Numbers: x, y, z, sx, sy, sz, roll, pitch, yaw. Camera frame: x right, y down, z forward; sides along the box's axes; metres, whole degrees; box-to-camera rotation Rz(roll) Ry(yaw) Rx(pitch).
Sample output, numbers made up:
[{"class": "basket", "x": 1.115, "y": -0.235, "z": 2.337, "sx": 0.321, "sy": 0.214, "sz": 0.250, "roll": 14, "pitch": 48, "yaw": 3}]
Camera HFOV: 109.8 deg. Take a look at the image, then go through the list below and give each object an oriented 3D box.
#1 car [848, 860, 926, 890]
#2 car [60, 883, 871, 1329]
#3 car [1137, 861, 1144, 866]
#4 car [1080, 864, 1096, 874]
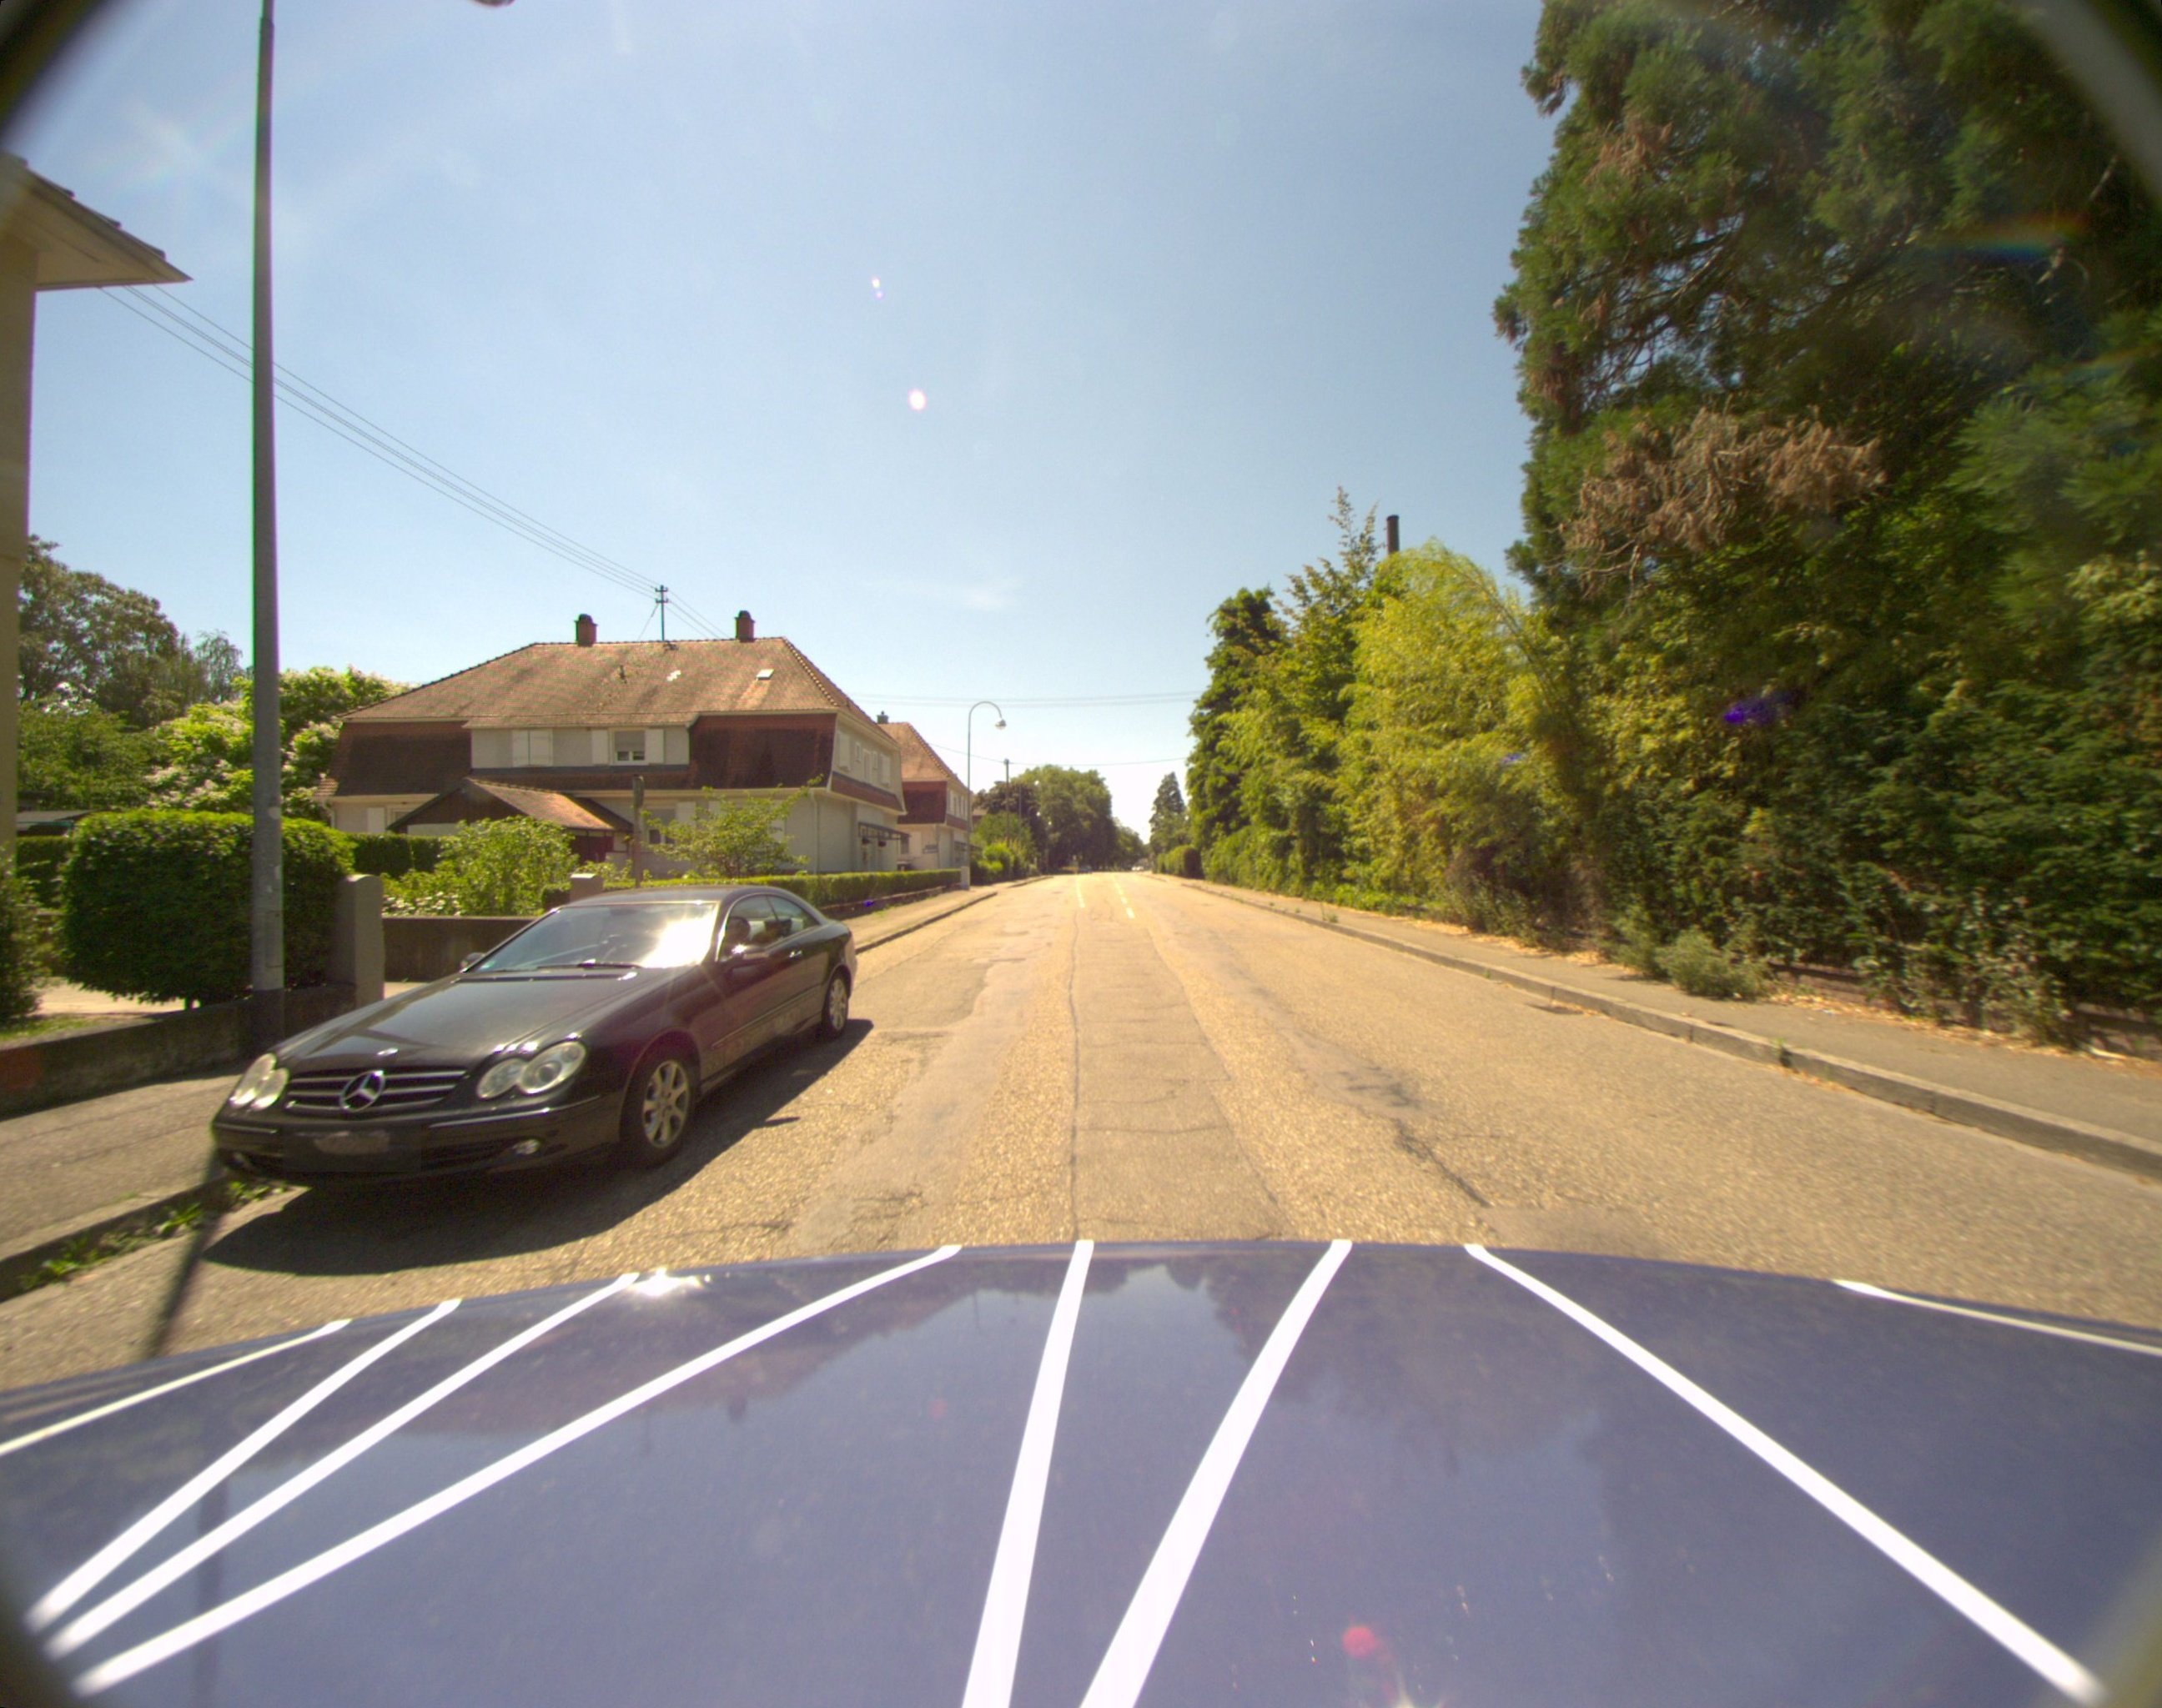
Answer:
[{"class": "car", "x": -11.123, "y": 1.194, "z": 43.737, "sx": 4.006, "sy": 1.527, "sz": 1.693, "roll": -2, "pitch": 1, "yaw": -1}, {"class": "car", "x": -2.937, "y": 1.040, "z": 5.132, "sx": 1.697, "sy": 1.410, "sz": 4.550, "roll": -2, "pitch": 1, "yaw": 0}, {"class": "car", "x": 15.377, "y": 2.526, "z": 197.737, "sx": 1.684, "sy": 1.364, "sz": 4.207, "roll": 0, "pitch": -1, "yaw": 3}, {"class": "car", "x": 1.163, "y": 2.437, "z": 125.873, "sx": 1.882, "sy": 1.623, "sz": 4.324, "roll": 0, "pitch": 0, "yaw": 9}]
